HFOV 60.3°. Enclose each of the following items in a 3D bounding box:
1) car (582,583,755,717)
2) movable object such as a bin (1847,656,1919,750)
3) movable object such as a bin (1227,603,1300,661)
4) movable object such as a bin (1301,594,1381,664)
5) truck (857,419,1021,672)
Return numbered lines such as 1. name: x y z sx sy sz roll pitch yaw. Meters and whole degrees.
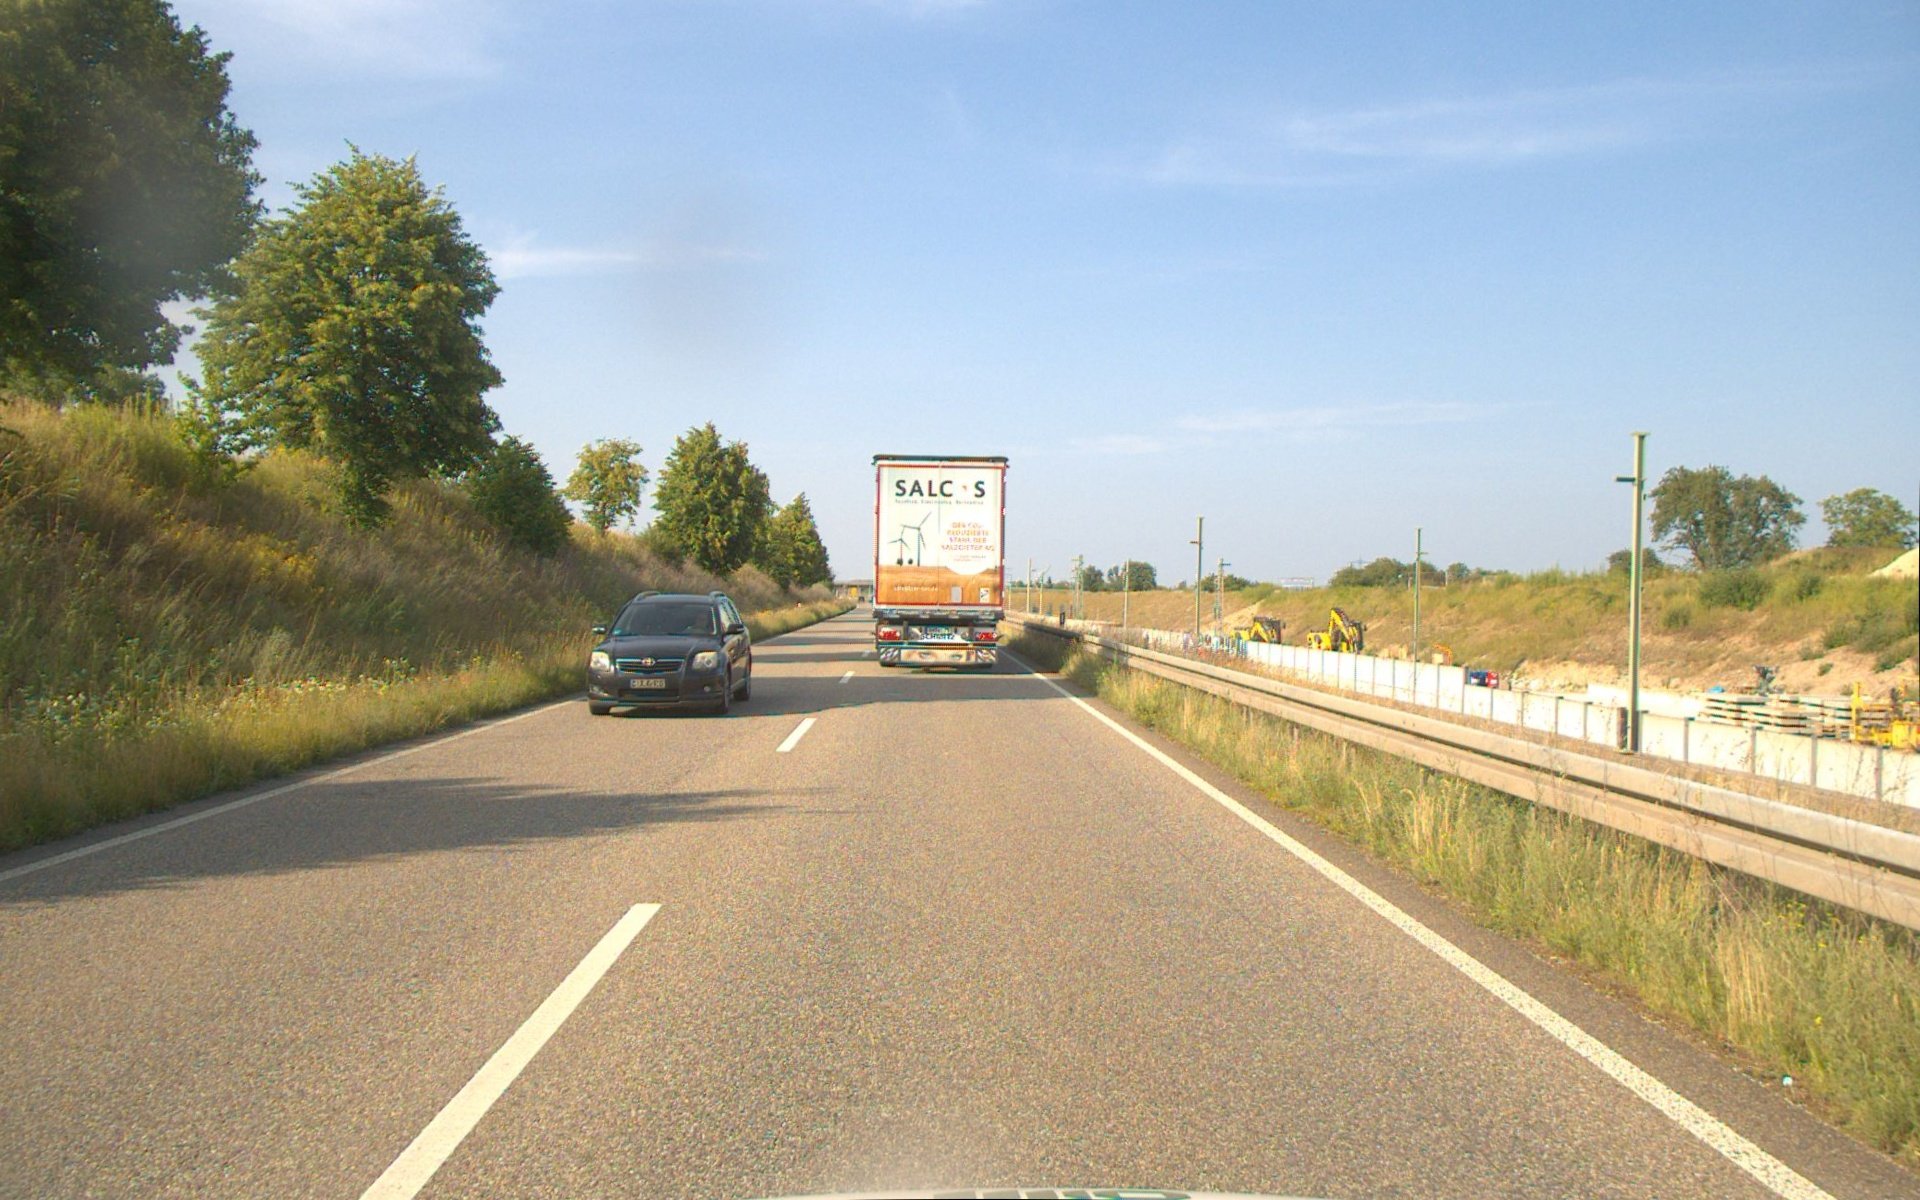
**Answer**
1. car: -3.719 0.580 21.774 1.708 1.574 4.309 0 0 -3
2. movable object such as a bin: 29.139 3.170 51.132 2.845 2.708 2.019 1 0 24
3. movable object such as a bin: 18.210 1.851 99.734 2.569 3.296 8.070 1 0 -2
4. movable object such as a bin: 22.641 1.661 98.689 2.740 3.954 7.534 1 0 -2
5. truck: -0.468 -1.051 35.389 3.089 4.770 8.439 0 0 -1
